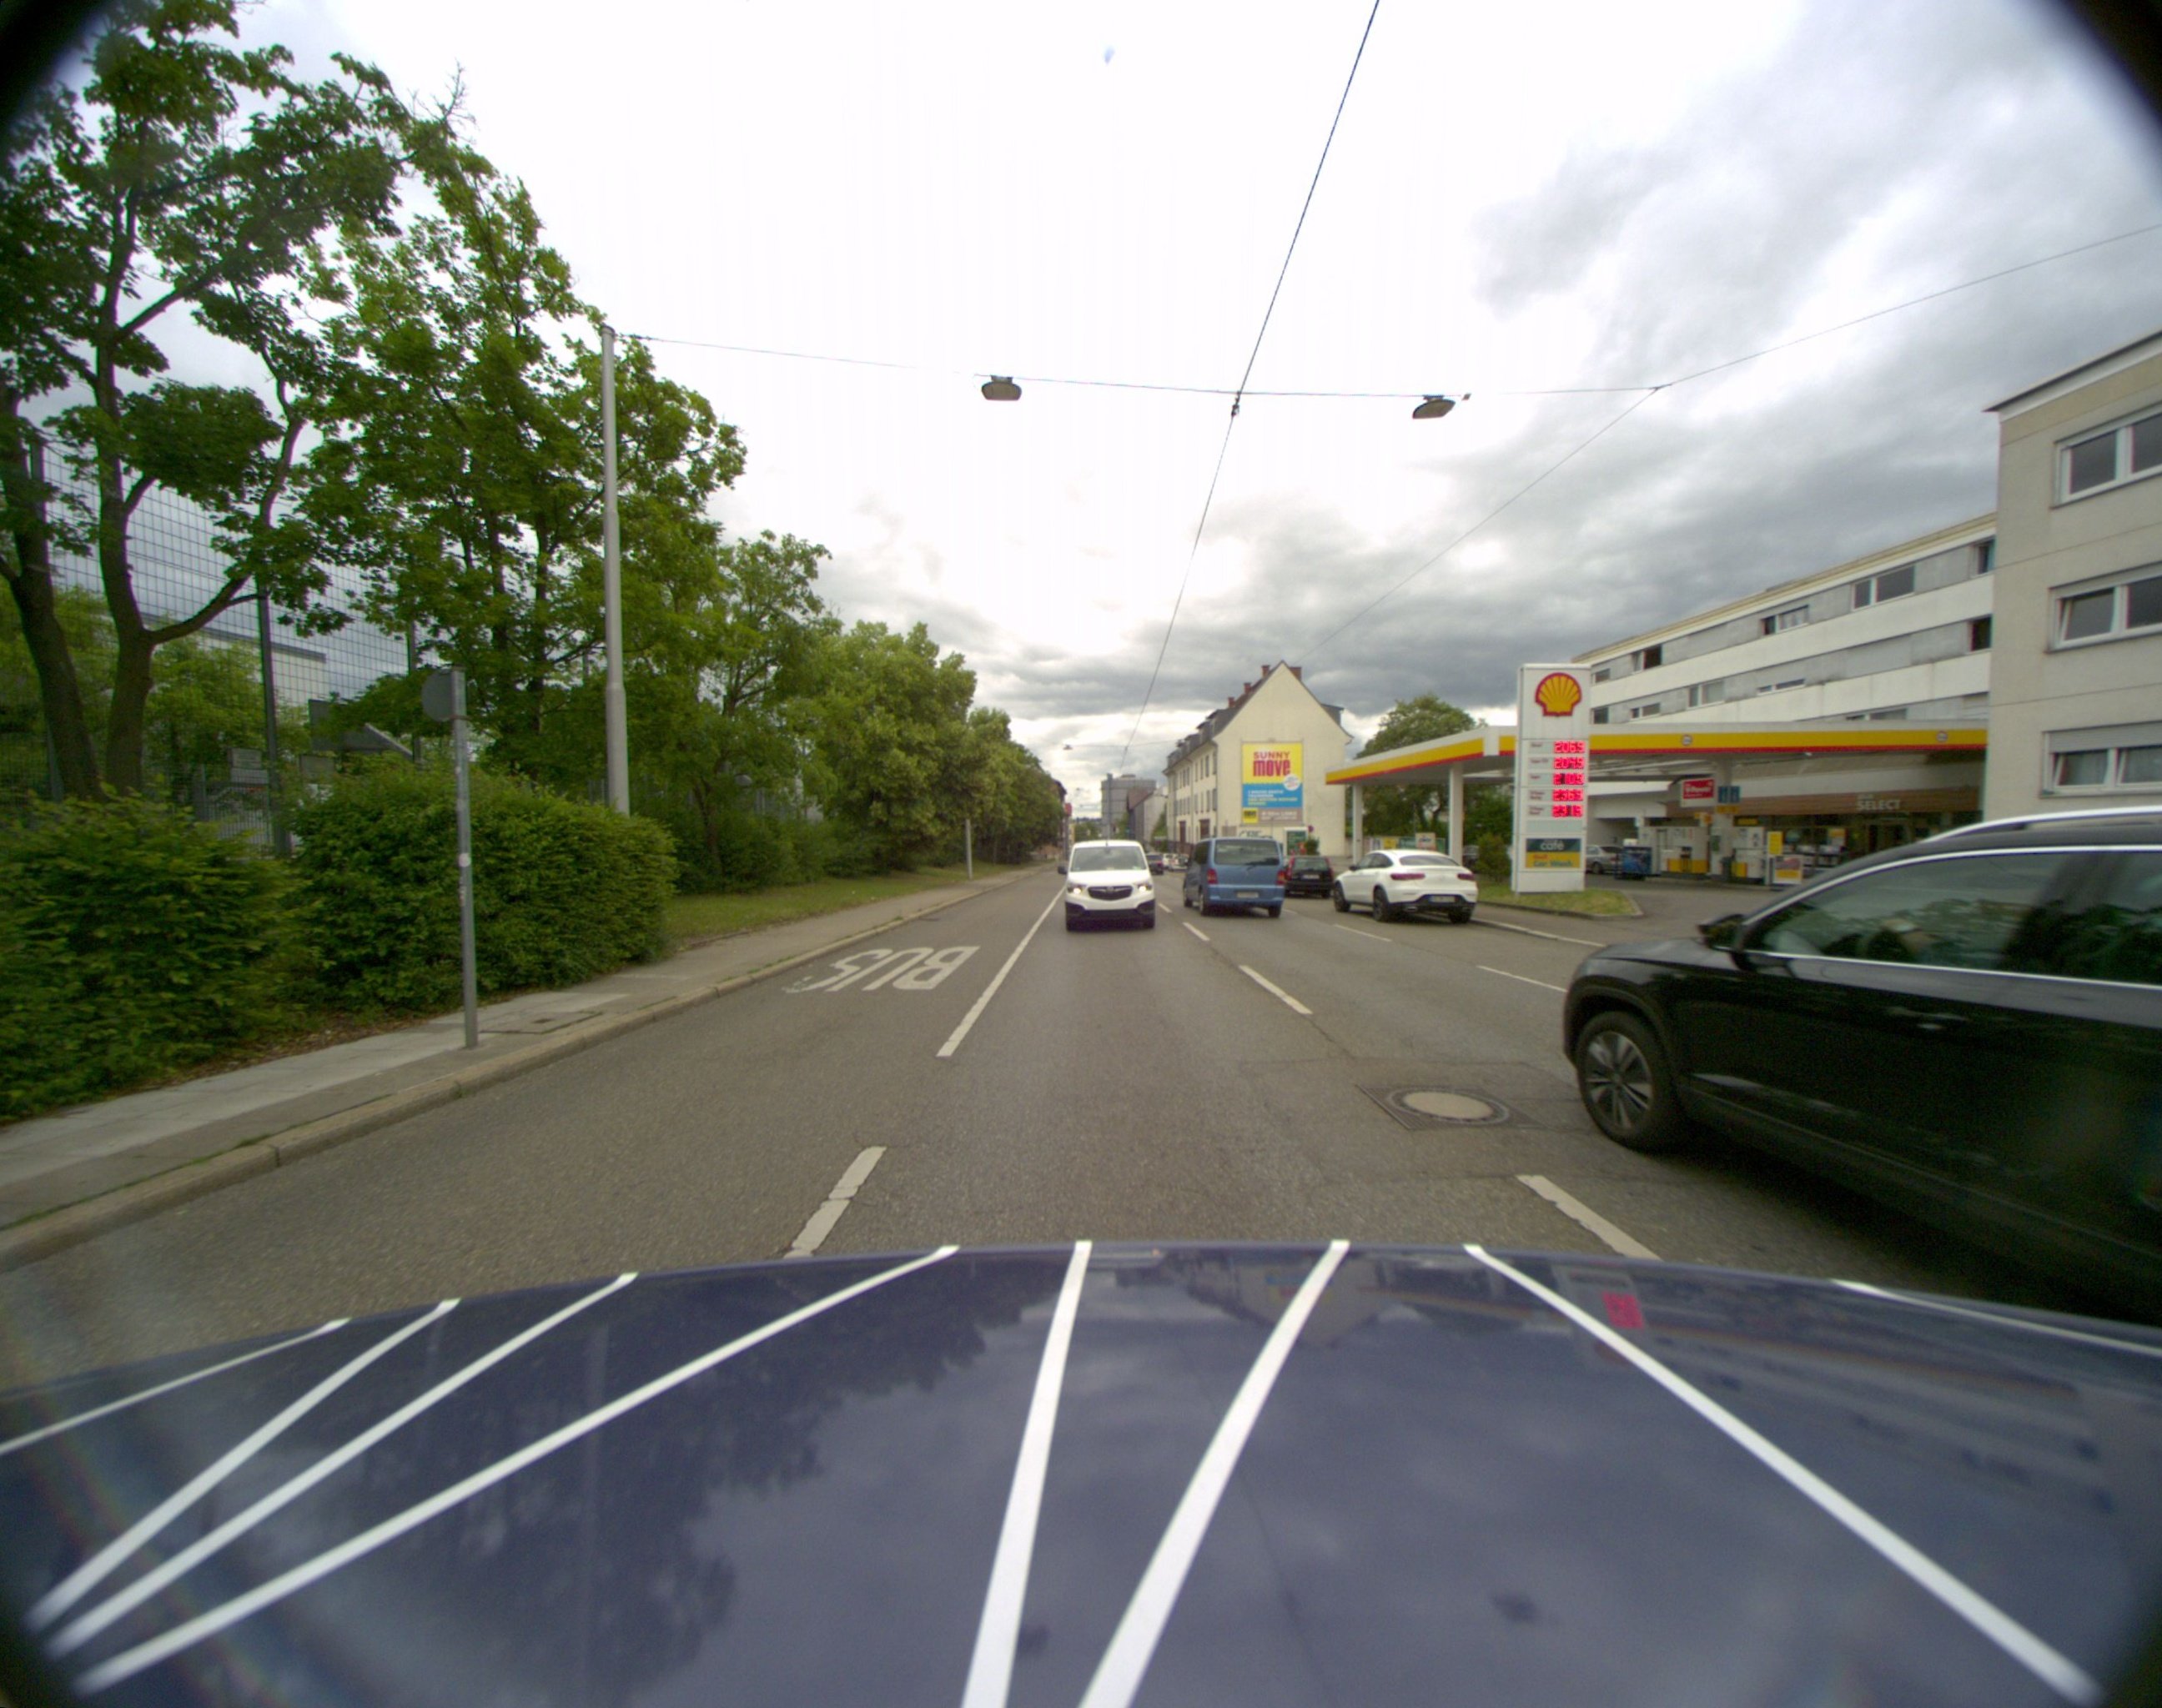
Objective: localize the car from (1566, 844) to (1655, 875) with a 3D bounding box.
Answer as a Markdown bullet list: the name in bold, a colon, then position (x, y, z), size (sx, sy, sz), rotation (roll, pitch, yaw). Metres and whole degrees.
- **car**: position (25.449, 0.245, 36.668), size (1.802, 1.412, 3.636), rotation (-1, 0, 1)

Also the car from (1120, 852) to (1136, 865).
- **car**: position (5.666, 0.558, 92.292), size (1.687, 1.546, 3.718), rotation (1, 0, 0)

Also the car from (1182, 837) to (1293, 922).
- **car**: position (3.802, 0.573, 19.265), size (1.935, 1.890, 4.589), rotation (0, 0, 1)

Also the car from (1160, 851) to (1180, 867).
- **car**: position (8.307, 0.485, 71.174), size (1.551, 1.466, 3.604), rotation (0, 0, 1)

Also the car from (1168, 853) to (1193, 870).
- **car**: position (8.114, 0.598, 62.021), size (1.623, 1.417, 3.665), rotation (0, 0, 1)

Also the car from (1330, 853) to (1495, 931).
- **car**: position (7.495, 0.774, 17.783), size (1.920, 1.568, 4.700), rotation (0, 0, 1)

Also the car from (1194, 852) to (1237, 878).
- **car**: position (7.759, 0.616, 44.299), size (1.795, 1.441, 4.218), rotation (1, 0, 1)

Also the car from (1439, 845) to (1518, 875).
- **car**: position (20.421, 0.283, 39.223), size (1.802, 1.412, 4.416), rotation (-1, 0, 1)

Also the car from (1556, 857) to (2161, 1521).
- **car**: position (3.544, 0.825, 2.134), size (1.844, 1.581, 4.164), rotation (0, 0, 1)

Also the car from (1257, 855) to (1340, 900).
- **car**: position (7.586, 0.772, 26.931), size (1.802, 1.423, 4.744), rotation (1, 0, 3)

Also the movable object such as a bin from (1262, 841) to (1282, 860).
- **movable object such as a bin**: position (15.366, -0.284, 61.103), size (1.268, 1.529, 1.104), rotation (1, 1, 1)

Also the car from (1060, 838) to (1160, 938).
- **car**: position (0.593, 0.689, 16.429), size (1.850, 1.831, 4.285), rotation (-1, -1, 1)

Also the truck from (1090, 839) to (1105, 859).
- **truck**: position (2.889, -0.809, 133.249), size (2.545, 3.478, 8.521), rotation (0, 0, 1)

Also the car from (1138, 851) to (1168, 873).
- **car**: position (5.030, 0.550, 53.612), size (1.782, 1.457, 4.499), rotation (0, 0, 1)
